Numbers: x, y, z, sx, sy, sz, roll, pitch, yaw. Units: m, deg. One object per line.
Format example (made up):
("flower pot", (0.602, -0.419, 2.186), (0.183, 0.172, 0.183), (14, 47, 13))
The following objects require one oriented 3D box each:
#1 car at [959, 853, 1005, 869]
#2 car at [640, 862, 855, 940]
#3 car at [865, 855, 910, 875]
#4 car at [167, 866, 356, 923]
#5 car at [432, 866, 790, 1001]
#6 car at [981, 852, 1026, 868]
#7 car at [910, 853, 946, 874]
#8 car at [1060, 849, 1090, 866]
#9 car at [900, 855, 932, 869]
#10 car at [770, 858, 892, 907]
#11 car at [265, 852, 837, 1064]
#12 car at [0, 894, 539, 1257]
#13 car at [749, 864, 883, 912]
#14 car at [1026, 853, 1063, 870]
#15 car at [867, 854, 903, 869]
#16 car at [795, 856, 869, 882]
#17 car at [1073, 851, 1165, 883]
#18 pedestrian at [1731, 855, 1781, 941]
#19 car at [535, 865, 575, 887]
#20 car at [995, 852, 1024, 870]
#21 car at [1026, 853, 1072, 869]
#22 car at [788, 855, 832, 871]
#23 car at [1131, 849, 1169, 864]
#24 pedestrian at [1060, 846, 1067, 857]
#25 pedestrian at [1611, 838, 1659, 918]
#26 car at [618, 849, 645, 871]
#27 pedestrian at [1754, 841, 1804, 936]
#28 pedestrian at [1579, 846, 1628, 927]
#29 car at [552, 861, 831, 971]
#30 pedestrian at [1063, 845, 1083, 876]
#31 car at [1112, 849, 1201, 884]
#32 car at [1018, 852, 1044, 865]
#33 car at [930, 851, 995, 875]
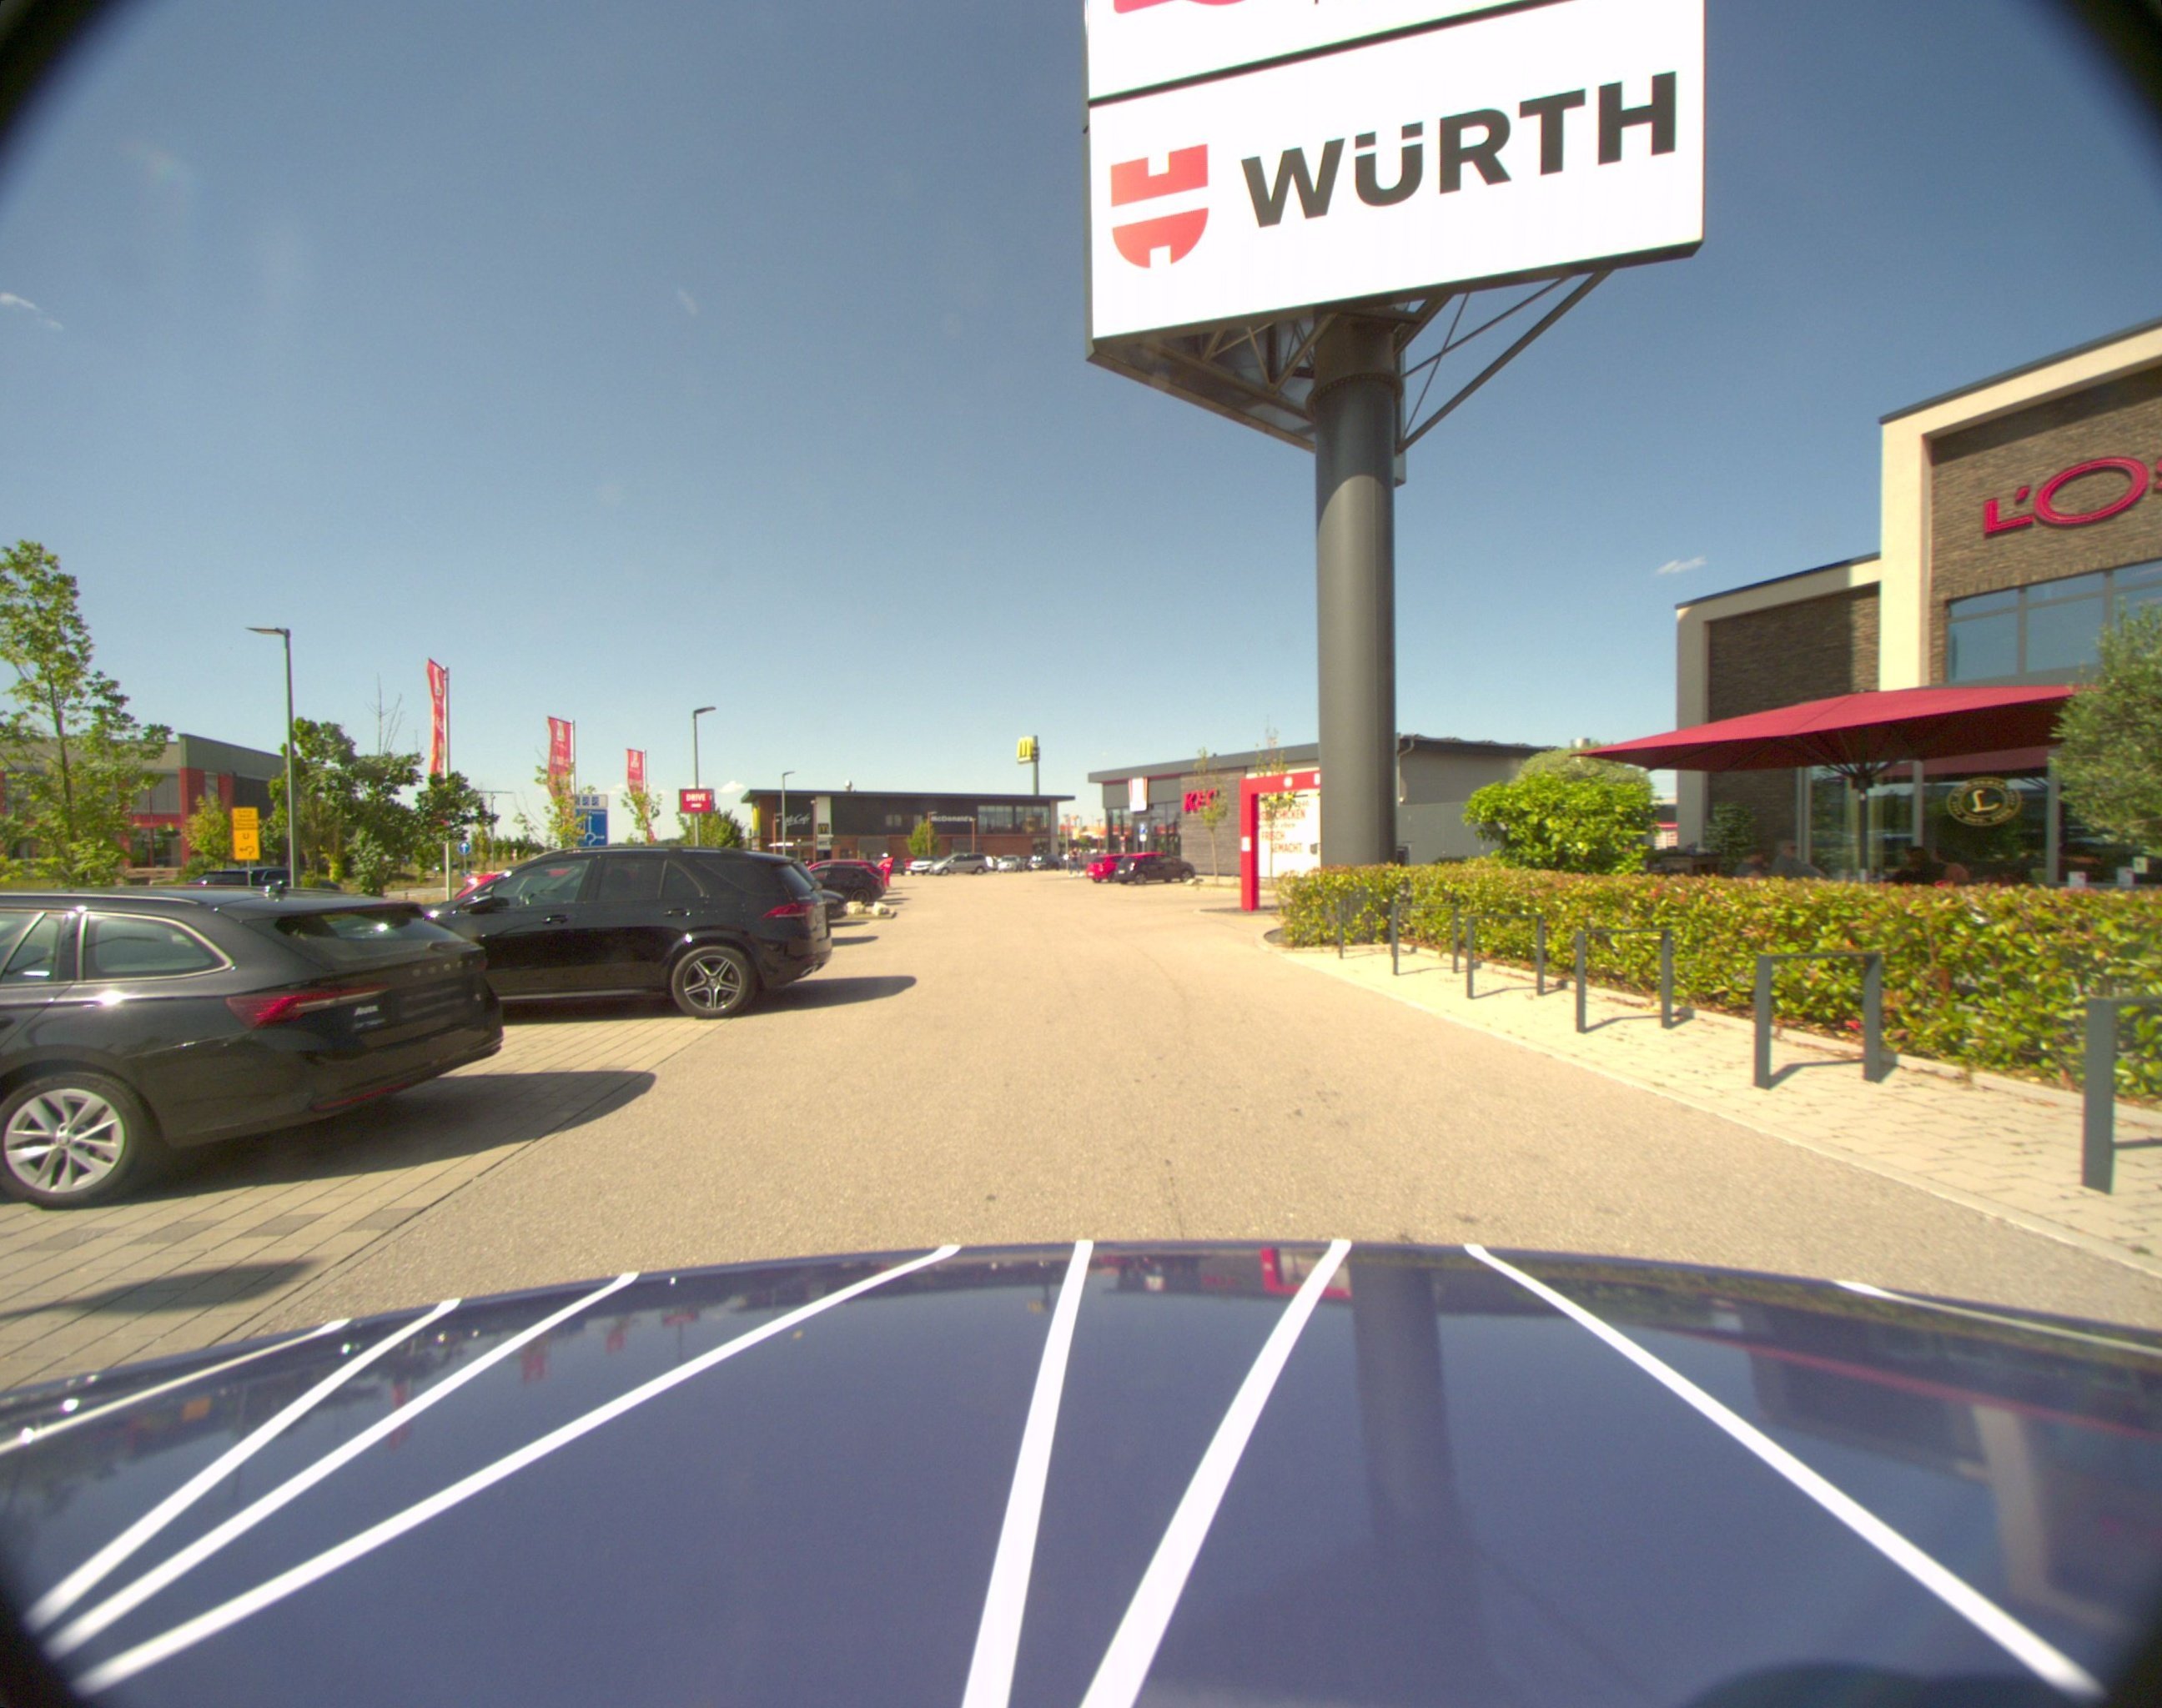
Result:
("car", (-9.707, 0.699, 74.488), (4.106, 1.484, 1.714), (-1, 1, 18))
("car", (-8.090, 1.093, 18.839), (4.450, 1.628, 1.894), (-2, 1, -8))
("car", (-15.730, 0.857, 61.948), (1.972, 1.517, 4.210), (-1, 0, 10))
("car", (-28.652, 1.348, 26.844), (2.000, 1.722, 4.755), (-1, 0, -9))
("car", (-6.677, 1.058, 11.321), (4.083, 1.599, 1.893), (-2, 0, -13))
("car", (-7.761, 0.586, 76.352), (4.106, 1.506, 1.815), (-1, 1, 18))
("car", (-12.757, 0.747, 63.574), (1.973, 1.645, 4.208), (-1, 0, 2))
("car", (-0.511, 0.286, 70.354), (1.833, 1.451, 4.375), (-1, 0, 13))
("car", (-18.500, 0.918, 85.430), (1.959, 1.457, 4.471), (-1, 0, 9))
("car", (-9.405, 1.037, 28.924), (4.233, 1.628, 1.948), (-2, 1, -15))
("car", (-5.170, 0.931, 8.146), (4.590, 1.750, 1.894), (-2, 1, -10))
("car", (-5.894, 1.049, 4.080), (4.456, 1.478, 1.876), (-1, 0, -10))
("car", (-9.075, 1.131, 26.275), (4.209, 1.402, 1.771), (-2, 1, -17))
("car", (-3.240, 0.664, 68.602), (1.972, 1.478, 4.789), (-1, 0, 15))
("car", (-21.643, 0.801, 83.995), (1.959, 1.593, 4.472), (-1, 0, 12))
("car", (-16.408, 0.977, 50.114), (4.485, 1.461, 1.830), (-2, 1, -21))
("car", (1.968, 0.650, 38.796), (4.408, 1.405, 1.736), (-2, 1, -30))
("pedestrian", (9.629, 0.606, 10.860), (0.480, 1.178, 0.652), (-1, 0, 38))
("car", (-42.774, 1.736, 61.840), (2.031, 1.707, 4.293), (-1, 0, -26))
("car", (-6.255, 0.595, 66.725), (1.973, 1.517, 4.208), (-1, 0, 2))
("car", (-3.252, 0.698, 77.552), (4.271, 1.478, 1.815), (-1, 1, 18))
("car", (-29.961, 0.969, 84.062), (1.991, 1.681, 4.244), (0, 0, 32))
("car", (7.672, 0.307, 84.423), (3.992, 1.543, 1.757), (-1, 0, 15))
("pedestrian", (-2.525, -0.328, 107.915), (0.700, 1.550, 0.723), (-1, 0, 34))
("pedestrian", (10.687, 0.451, 14.667), (0.526, 1.496, 0.568), (-1, 0, -30))
("car", (-46.128, 0.634, 78.075), (2.003, 2.184, 5.095), (-1, 0, -26))
("pedestrian", (10.334, 0.495, 11.259), (0.480, 1.359, 0.652), (-1, 1, 38))
("pedestrian", (9.945, 0.600, 14.466), (0.526, 1.496, 0.568), (-1, 0, -30))
("car", (-7.125, 1.071, 14.426), (4.334, 1.693, 1.893), (-2, 1, -15))
("pedestrian", (-0.511, 0.396, 45.797), (0.727, 1.799, 0.992), (-3, 2, -32))
("car", (3.645, 0.587, 36.469), (3.914, 1.498, 1.736), (-2, 1, -28))
("car", (-5.997, 0.532, 91.612), (1.713, 1.603, 4.041), (-1, 0, 17))
("car", (-9.344, 0.656, 60.003), (4.690, 1.738, 1.829), (-1, 1, -28))
